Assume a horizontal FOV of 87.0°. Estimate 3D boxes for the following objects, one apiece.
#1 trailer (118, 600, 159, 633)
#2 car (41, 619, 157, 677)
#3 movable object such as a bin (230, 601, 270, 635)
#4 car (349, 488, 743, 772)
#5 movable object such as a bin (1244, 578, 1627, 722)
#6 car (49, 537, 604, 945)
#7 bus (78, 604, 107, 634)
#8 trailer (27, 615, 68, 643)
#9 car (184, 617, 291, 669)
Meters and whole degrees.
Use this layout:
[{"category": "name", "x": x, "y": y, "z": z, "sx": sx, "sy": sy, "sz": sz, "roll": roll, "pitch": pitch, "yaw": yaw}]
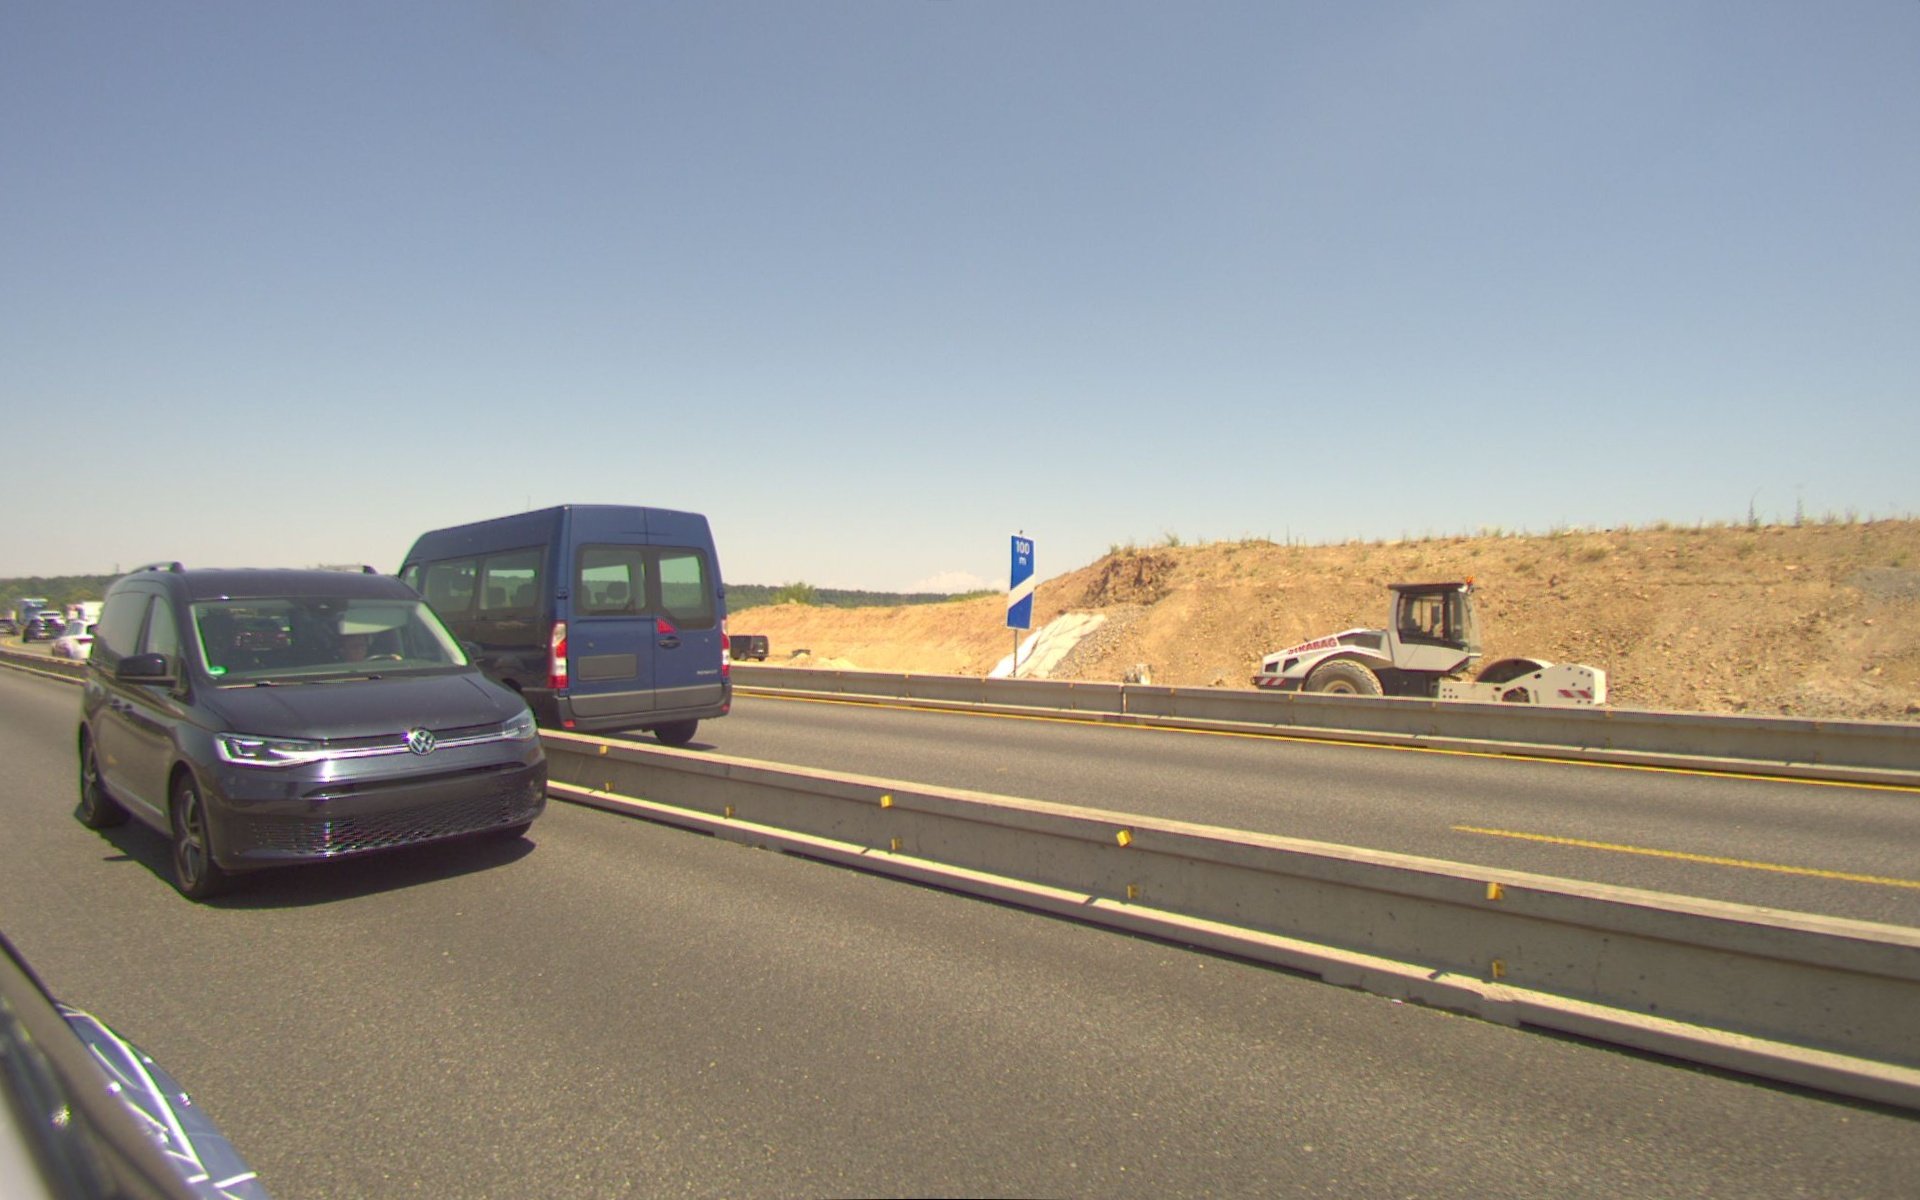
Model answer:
[{"category": "trailer", "x": -109.614, "y": 2.260, "z": 135.213, "sx": 2.722, "sy": 4.146, "sz": 14.015, "roll": 1, "pitch": -2, "yaw": -33}, {"category": "car", "x": -23.537, "y": 1.259, "z": 27.599, "sx": 4.668, "sy": 1.453, "sz": 1.661, "roll": -1, "pitch": -2, "yaw": 40}, {"category": "movable object such as a bin", "x": -93.128, "y": 2.395, "z": 132.926, "sx": 2.882, "sy": 4.362, "sz": 9.356, "roll": 0, "pitch": -1, "yaw": -26}, {"category": "car", "x": -4.850, "y": 0.319, "z": 11.370, "sx": 5.355, "sy": 2.487, "sz": 1.935, "roll": -1, "pitch": -2, "yaw": 41}, {"category": "movable object such as a bin", "x": 9.226, "y": 0.923, "z": 20.281, "sx": 6.741, "sy": 2.480, "sz": 1.684, "roll": -1, "pitch": -2, "yaw": 41}, {"category": "car", "x": -4.435, "y": 0.651, "z": 6.726, "sx": 4.601, "sy": 1.803, "sz": 1.901, "roll": -1, "pitch": 0, "yaw": 41}, {"category": "bus", "x": -94.899, "y": 2.109, "z": 110.694, "sx": 2.320, "sy": 3.149, "sz": 7.238, "roll": 1, "pitch": -2, "yaw": -41}, {"category": "trailer", "x": -68.027, "y": 2.185, "z": 75.449, "sx": 2.105, "sy": 1.997, "sz": 5.239, "roll": 3, "pitch": -3, "yaw": -43}, {"category": "car", "x": -22.271, "y": 1.285, "z": 31.133, "sx": 4.390, "sy": 1.490, "sz": 1.707, "roll": -1, "pitch": -2, "yaw": 41}]
